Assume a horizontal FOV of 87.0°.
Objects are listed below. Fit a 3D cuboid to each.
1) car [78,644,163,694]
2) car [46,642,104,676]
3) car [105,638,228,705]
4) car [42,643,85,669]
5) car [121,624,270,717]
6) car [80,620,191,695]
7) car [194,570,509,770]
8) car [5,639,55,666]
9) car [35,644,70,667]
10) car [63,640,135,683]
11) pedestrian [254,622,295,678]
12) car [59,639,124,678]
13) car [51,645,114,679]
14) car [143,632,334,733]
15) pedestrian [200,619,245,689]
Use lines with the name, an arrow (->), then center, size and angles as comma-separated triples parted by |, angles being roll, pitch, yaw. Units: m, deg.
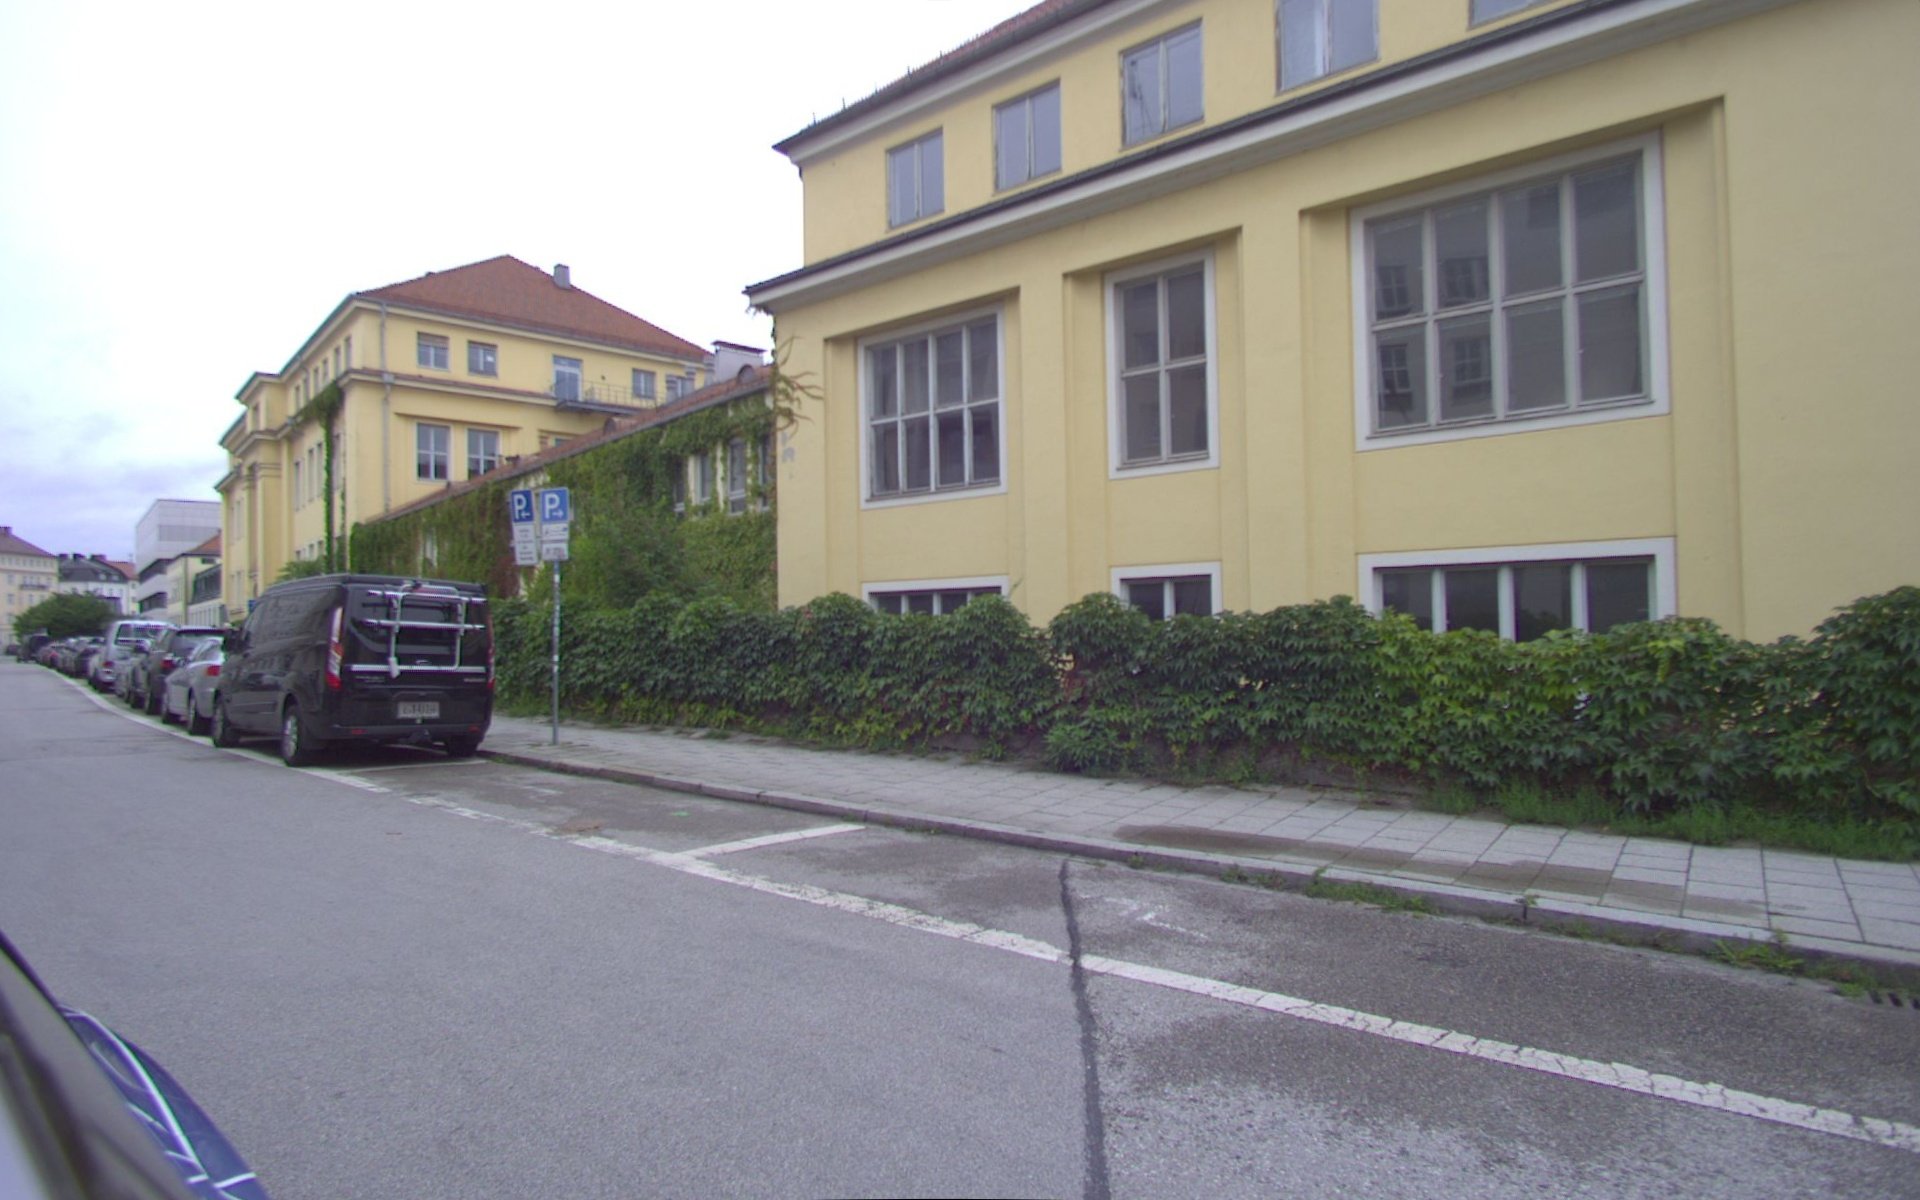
car -> -25.764, 2.107, 31.012 | 1.647, 1.420, 3.561 | 5, -6, -44
car -> -45.025, 3.007, 51.463 | 4.301, 1.653, 1.761 | -3, -6, 44
car -> -18.623, 1.643, 23.668 | 1.782, 1.388, 4.495 | 7, -7, -43
car -> -52.736, 3.312, 59.481 | 1.713, 1.450, 3.783 | 5, -5, -43
car -> -15.018, 1.355, 19.783 | 1.682, 1.619, 4.494 | 5, -6, -44
car -> -22.403, 1.571, 27.422 | 1.870, 1.812, 4.885 | 7, -7, -43
car -> -7.549, 0.839, 12.360 | 4.620, 1.994, 1.905 | -3, -5, 41
car -> -91.239, 5.134, 99.221 | 6.888, 2.571, 2.810 | -3, -3, 41
car -> -65.375, 3.991, 72.886 | 1.748, 1.567, 4.214 | 5, -5, -43
car -> -32.776, 2.330, 38.490 | 1.697, 1.492, 4.222 | 7, -7, -44
pedestrian -> -18.998, 1.387, 28.054 | 0.833, 1.506, 0.873 | 1, -3, -42
car -> -36.153, 2.434, 42.104 | 1.748, 1.514, 4.276 | 4, -5, -44
car -> -40.235, 2.836, 46.371 | 4.603, 1.419, 1.753 | -3, -7, 45
car -> -11.383, 1.276, 15.867 | 4.003, 1.376, 1.687 | -3, -7, 45
pedestrian -> -19.210, 1.396, 26.359 | 0.833, 1.768, 0.873 | 1, -3, -43
